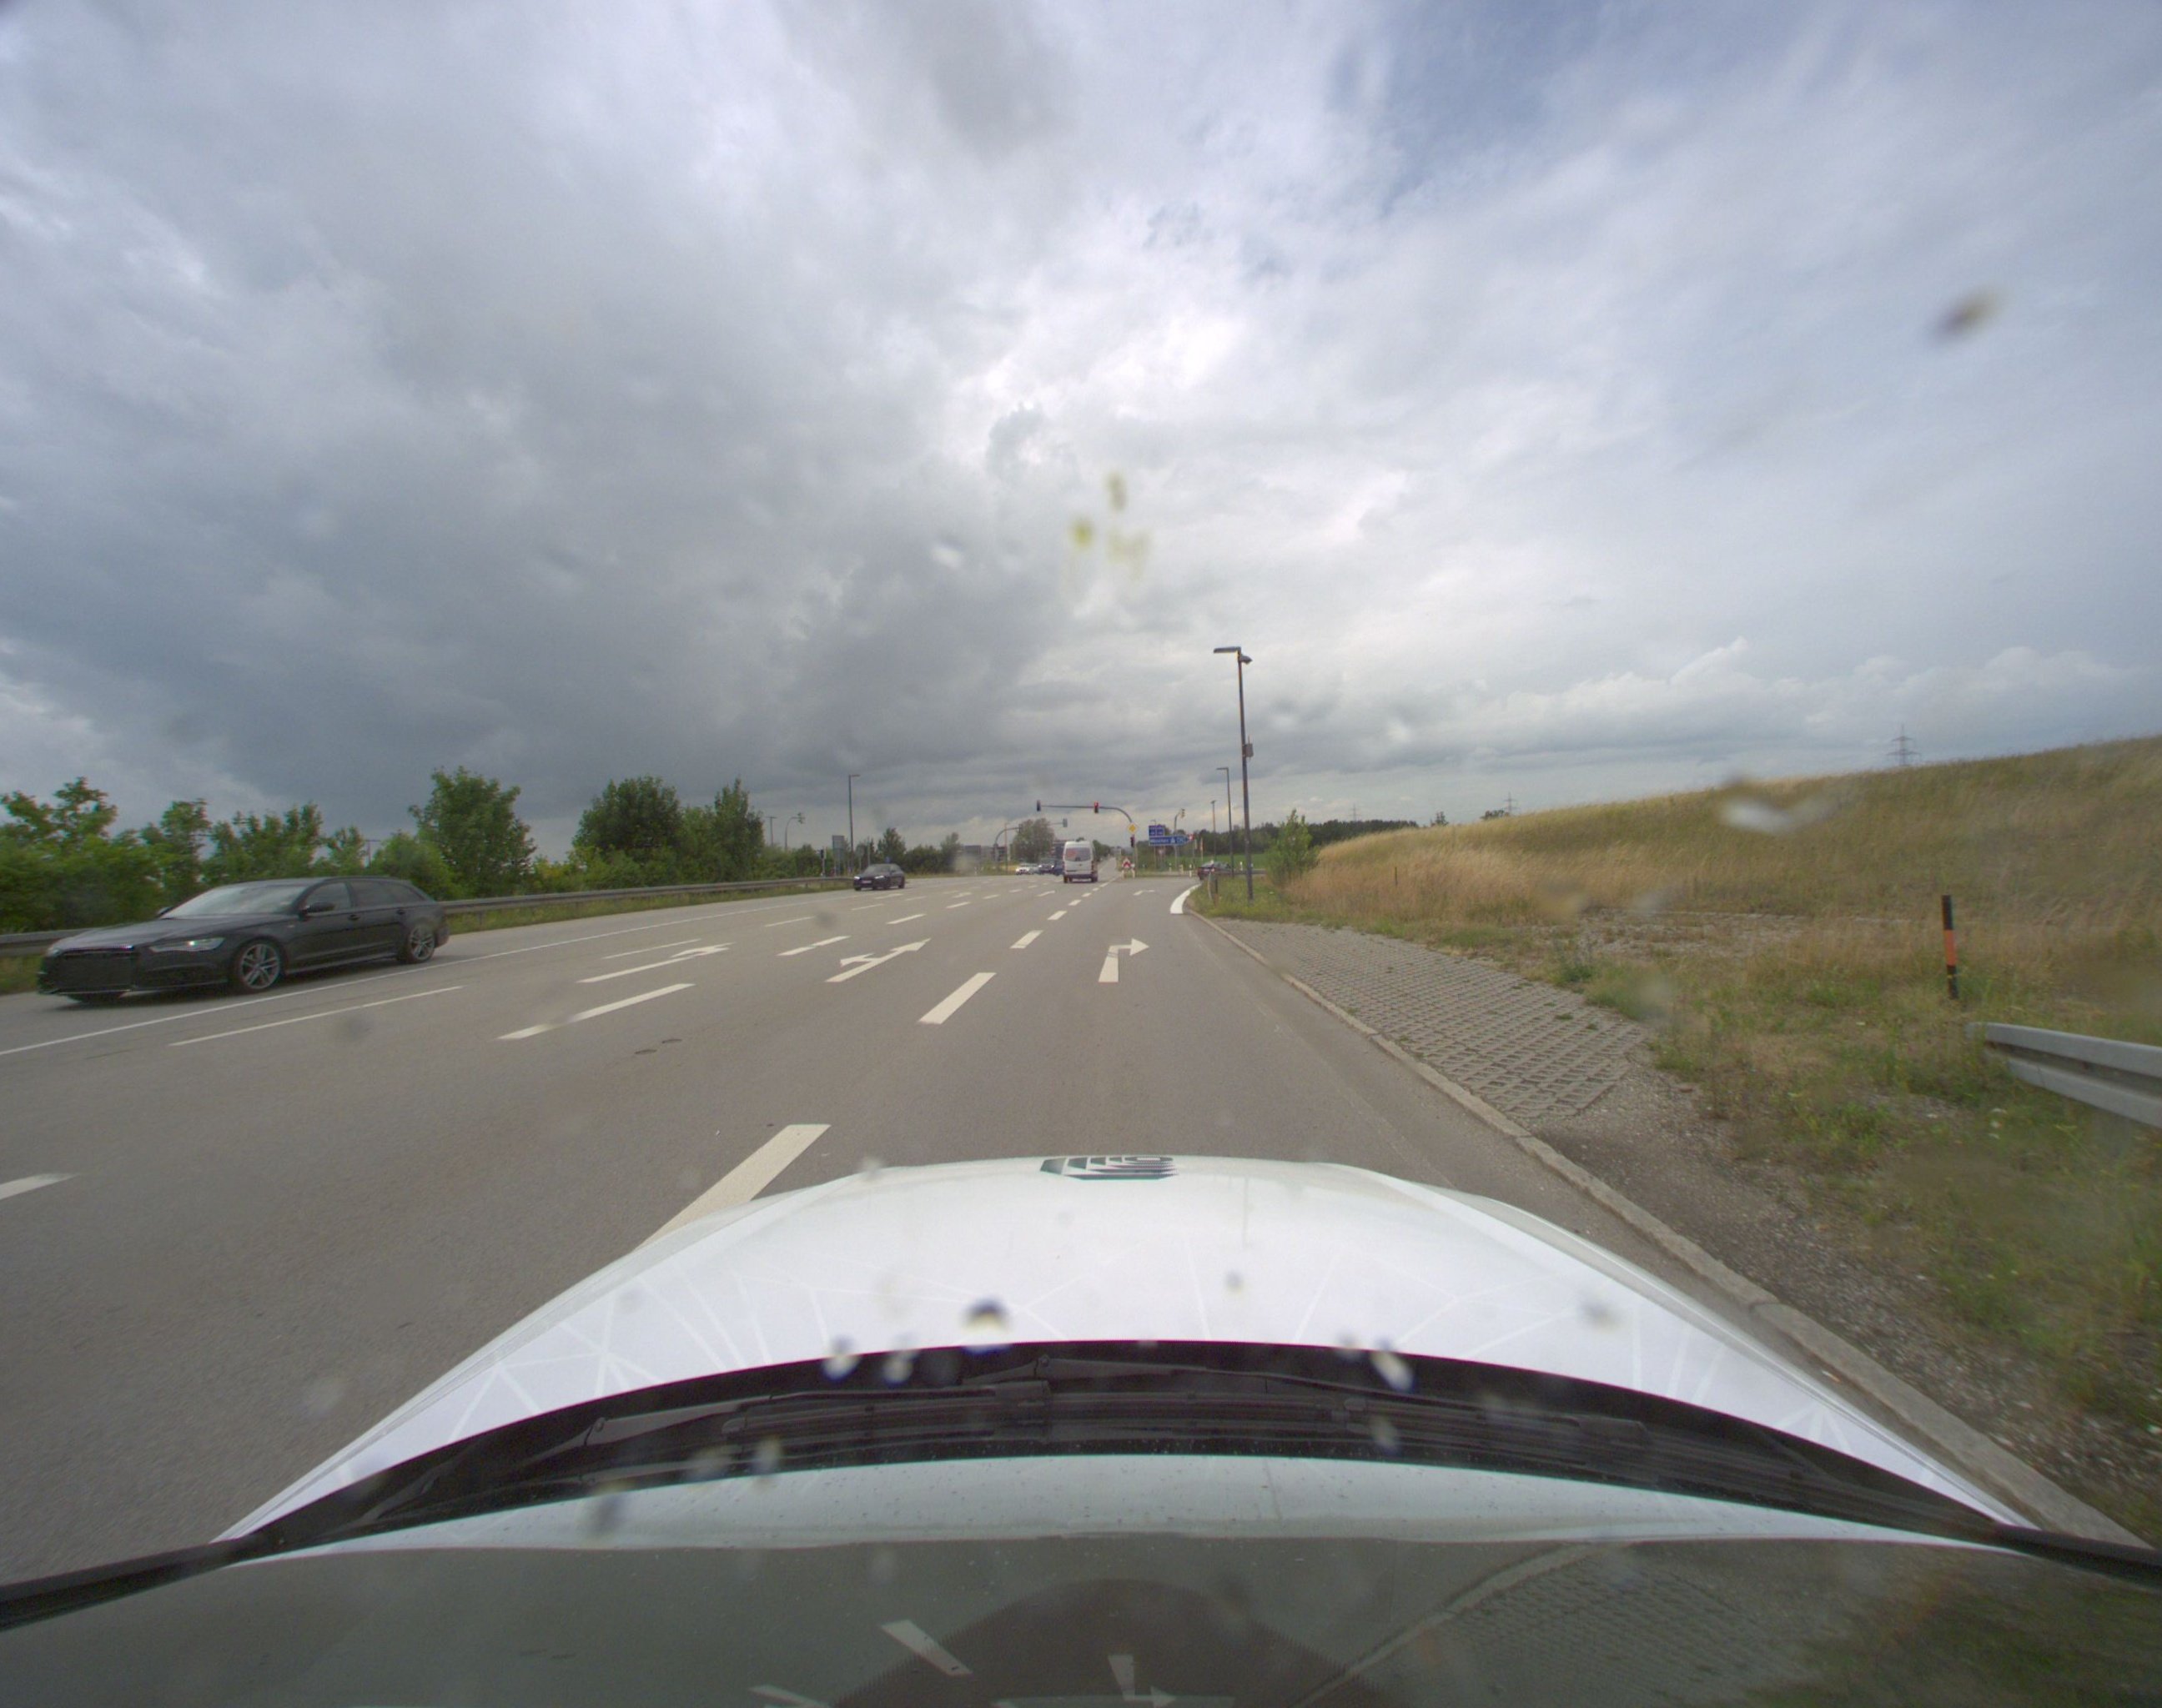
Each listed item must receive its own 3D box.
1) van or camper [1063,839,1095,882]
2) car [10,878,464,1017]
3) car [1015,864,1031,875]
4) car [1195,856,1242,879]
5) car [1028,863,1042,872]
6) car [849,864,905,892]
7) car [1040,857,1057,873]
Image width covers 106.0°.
[{"bbox_3d":[-0.083,0.412,51.802,1.869,2.581,4.002,-1,0,2],"label":"van or camper"},{"bbox_3d":[-11.320,1.114,11.586,1.807,1.368,4.774,-2,0,-7],"label":"car"},{"bbox_3d":[-7.373,1.972,104.054,1.474,1.282,3.537,-2,0,3],"label":"car"},{"bbox_3d":[9.840,0.940,58.102,1.504,1.485,3.637,-3,0,44],"label":"car"},{"bbox_3d":[-6.442,1.923,114.561,1.474,1.178,3.537,-2,0,3],"label":"car"},{"bbox_3d":[-11.092,1.282,44.565,1.837,1.425,3.912,-2,-1,3],"label":"car"},{"bbox_3d":[-3.796,1.267,95.291,1.631,1.852,3.752,-2,0,3],"label":"car"}]
